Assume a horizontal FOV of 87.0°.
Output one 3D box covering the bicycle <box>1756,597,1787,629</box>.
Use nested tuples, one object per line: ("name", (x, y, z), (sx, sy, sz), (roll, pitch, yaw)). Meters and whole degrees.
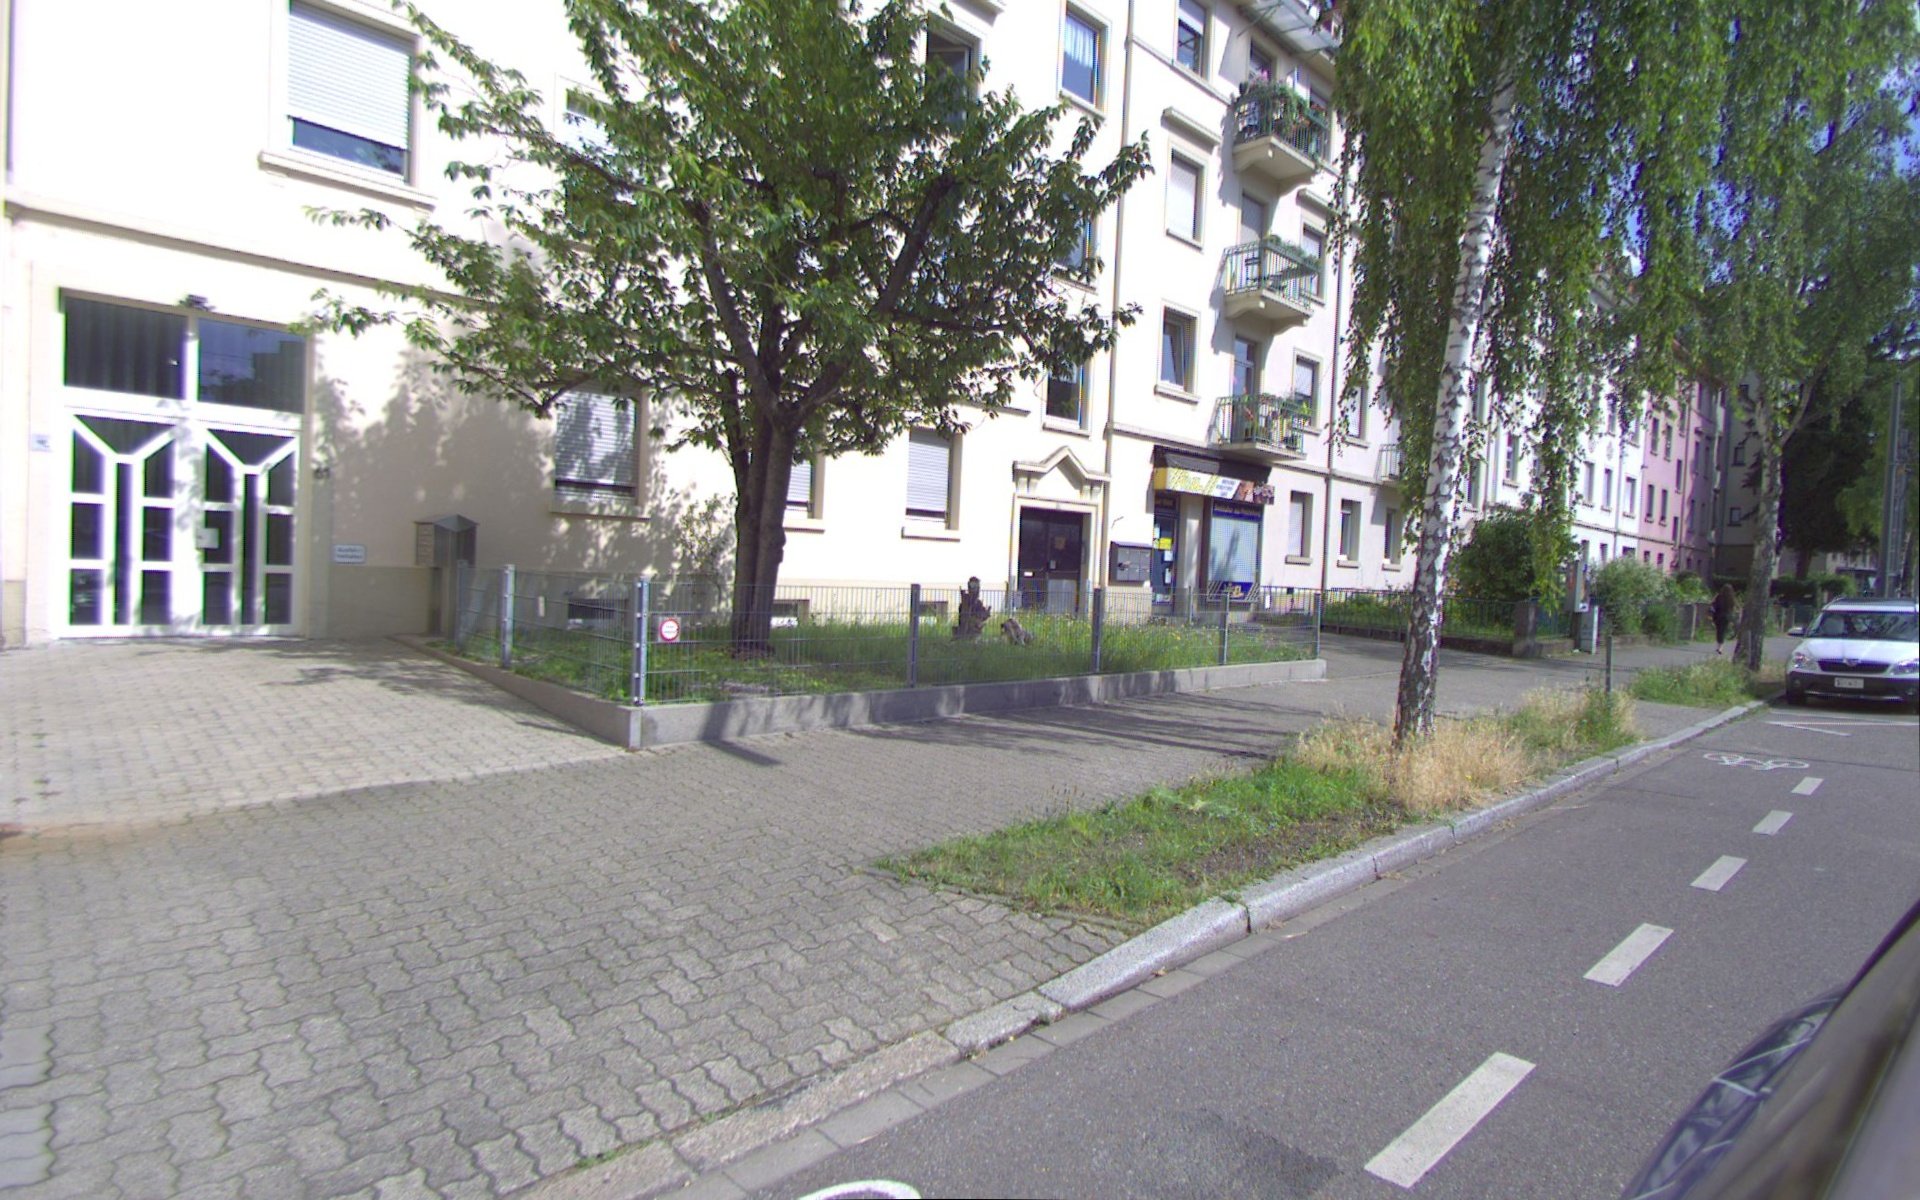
("bicycle", (29.403, 0.460, 36.662), (2.145, 1.090, 0.472), (1, 3, -42))

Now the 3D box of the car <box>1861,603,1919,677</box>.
("car", (20.182, 0.794, 21.221), (3.732, 1.435, 1.674), (0, 0, -44))

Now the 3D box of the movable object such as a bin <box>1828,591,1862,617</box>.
("movable object such as a bin", (56.136, 0.247, 64.186), (1.966, 1.510, 1.304), (1, 3, -43))

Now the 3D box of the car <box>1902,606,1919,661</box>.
("car", (27.319, 0.894, 28.011), (3.780, 1.471, 1.590), (0, 0, -44))

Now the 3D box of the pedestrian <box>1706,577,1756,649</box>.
("pedestrian", (19.175, 0.326, 25.173), (0.678, 1.703, 0.732), (1, 4, -40))

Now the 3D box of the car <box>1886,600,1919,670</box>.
("car", (23.460, 0.813, 24.412), (3.698, 1.599, 1.494), (0, 1, -45))

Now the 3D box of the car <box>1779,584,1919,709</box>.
("car", (13.811, 0.616, 15.160), (3.930, 1.650, 1.724), (0, 1, -41))

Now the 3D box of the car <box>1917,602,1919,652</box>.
("car", (30.467, 0.800, 30.908), (3.853, 1.471, 1.621), (0, 0, -44))
